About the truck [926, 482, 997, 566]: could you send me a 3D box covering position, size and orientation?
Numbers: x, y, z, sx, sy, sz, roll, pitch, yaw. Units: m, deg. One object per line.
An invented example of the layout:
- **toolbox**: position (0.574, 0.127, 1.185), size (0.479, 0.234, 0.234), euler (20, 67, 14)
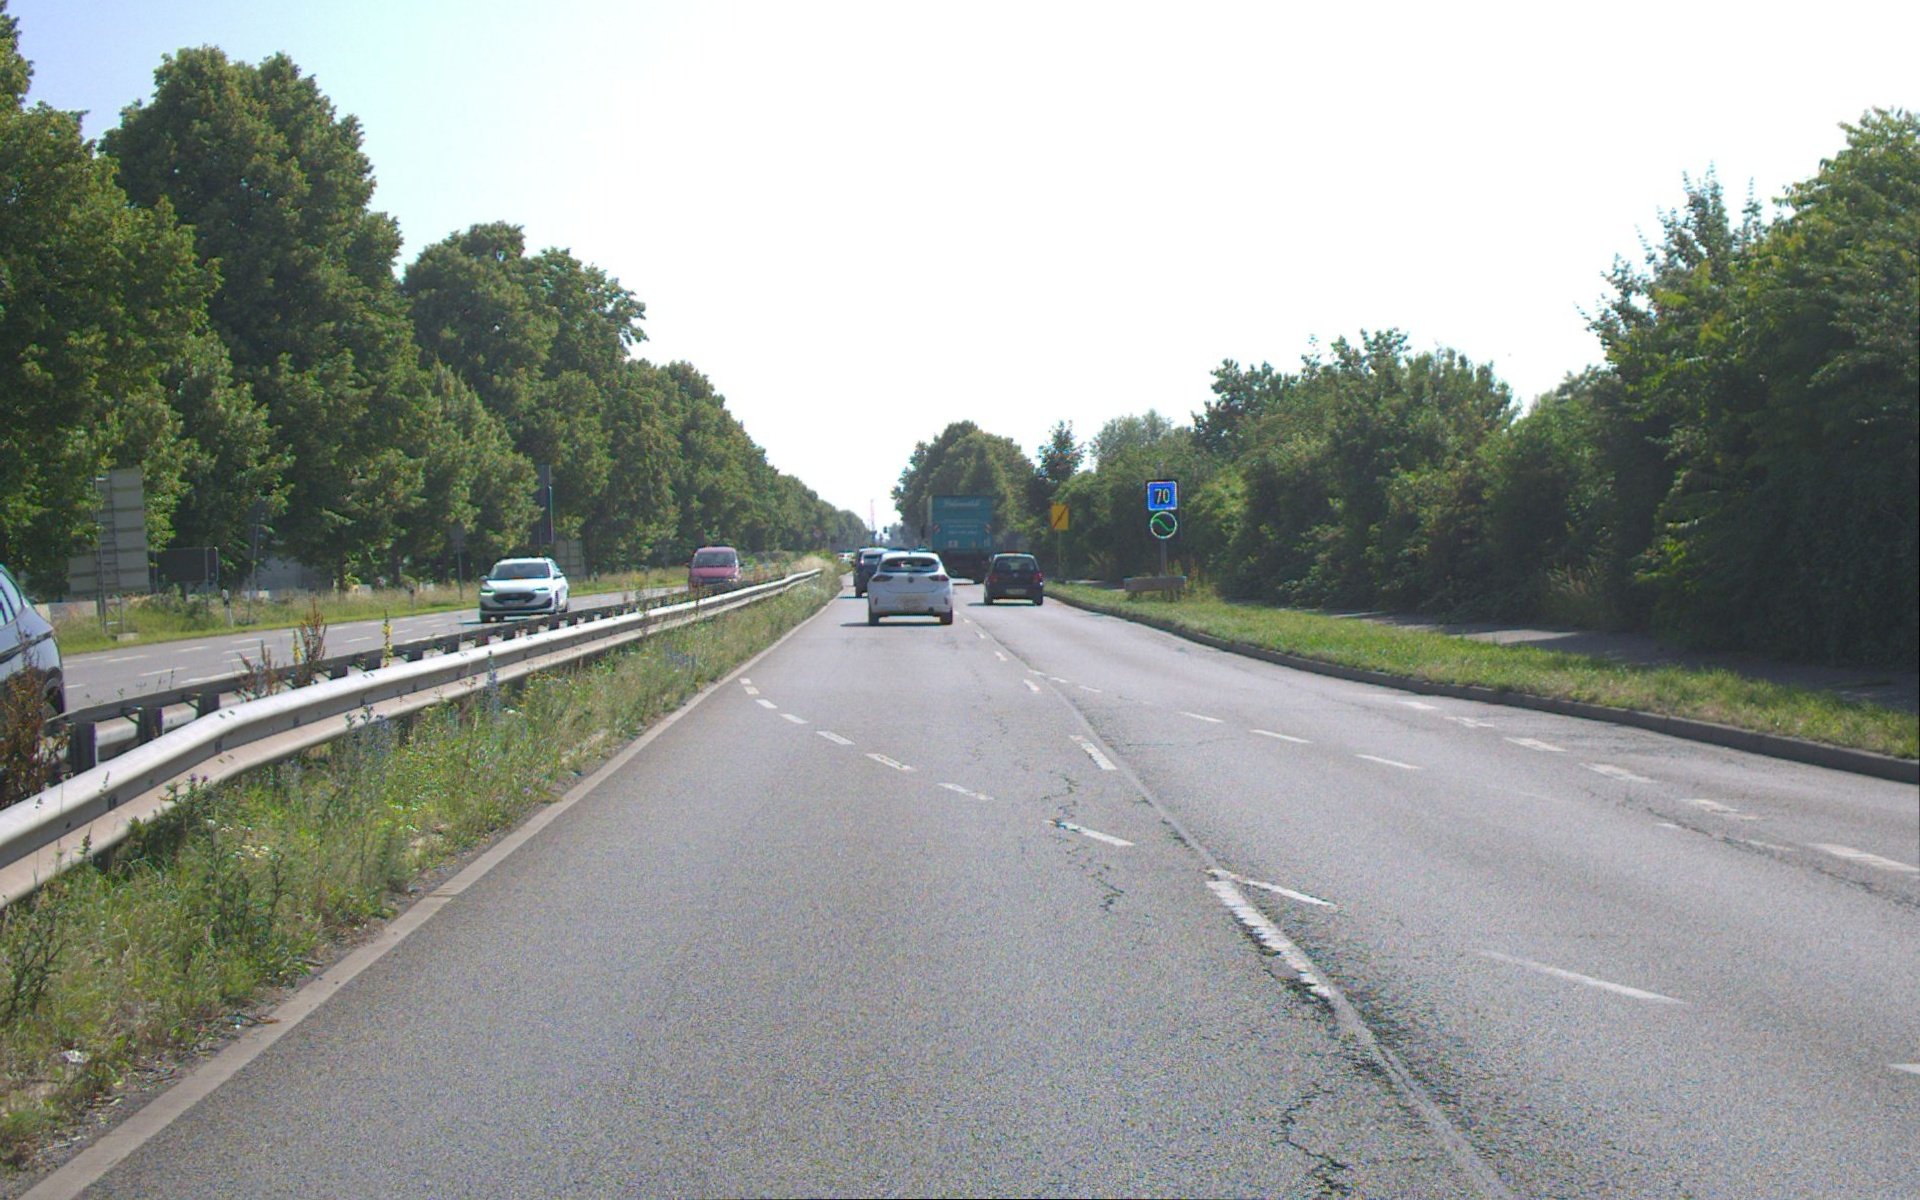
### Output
- **truck**: position (0.017, -3.279, 148.536), size (2.891, 3.417, 9.170), euler (-2, 1, -1)

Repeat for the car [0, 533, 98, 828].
- **car**: position (-6.107, 0.458, 18.501), size (1.846, 1.589, 4.617), euler (-2, 1, -2)

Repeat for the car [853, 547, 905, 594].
- **car**: position (-2.563, -0.966, 109.761), size (1.572, 1.409, 3.278), euler (-2, 1, -1)

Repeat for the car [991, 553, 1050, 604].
- **car**: position (1.685, -0.604, 97.079), size (1.572, 1.410, 3.277), euler (-1, 0, 0)

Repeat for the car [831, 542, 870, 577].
- **car**: position (-4.631, -1.713, 145.642), size (1.572, 1.409, 3.278), euler (-2, 1, -1)

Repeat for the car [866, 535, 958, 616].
- **car**: position (-0.942, -0.517, 70.071), size (1.798, 1.547, 4.000), euler (-1, 1, 0)

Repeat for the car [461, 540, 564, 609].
- **car**: position (-10.581, -0.626, 81.505), size (1.993, 1.497, 4.091), euler (-2, 1, -2)

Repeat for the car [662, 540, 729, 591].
- **car**: position (-8.352, -1.115, 108.921), size (1.912, 1.497, 4.091), euler (-2, 1, -2)
